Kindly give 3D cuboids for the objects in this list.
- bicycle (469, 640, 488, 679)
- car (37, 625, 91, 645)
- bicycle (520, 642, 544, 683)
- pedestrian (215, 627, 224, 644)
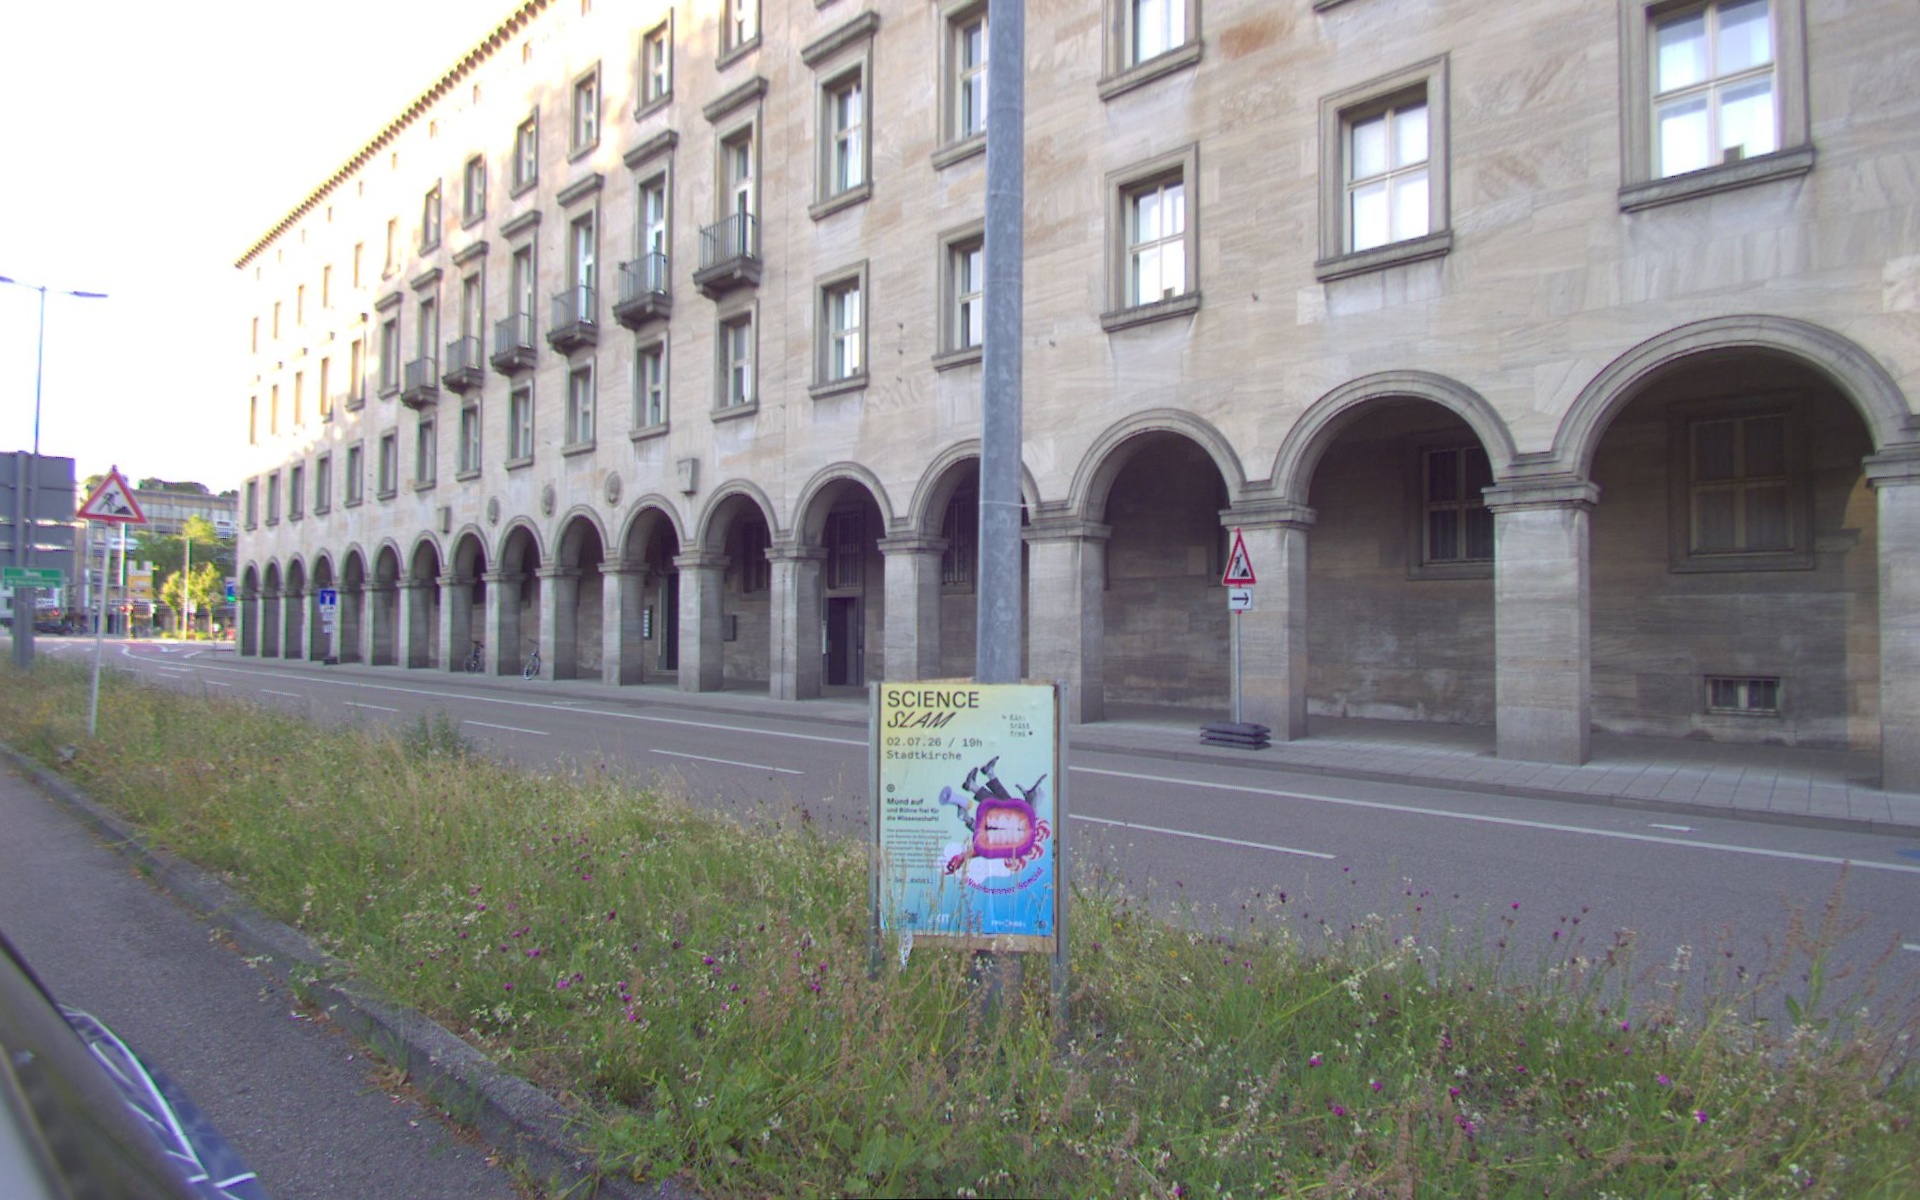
[{"bbox_3d":[-15.544,1.898,32.678,0.505,1.188,2.431,1,-2,-25],"label":"bicycle"},{"bbox_3d":[-94.272,3.689,106.531,1.997,2.029,3.949,-1,-3,37],"label":"car"},{"bbox_3d":[-12.723,1.836,30.099,0.505,1.130,2.431,1,-1,-20],"label":"bicycle"},{"bbox_3d":[-66.492,3.165,90.879,0.389,1.553,0.519,-2,-3,41],"label":"pedestrian"}]
